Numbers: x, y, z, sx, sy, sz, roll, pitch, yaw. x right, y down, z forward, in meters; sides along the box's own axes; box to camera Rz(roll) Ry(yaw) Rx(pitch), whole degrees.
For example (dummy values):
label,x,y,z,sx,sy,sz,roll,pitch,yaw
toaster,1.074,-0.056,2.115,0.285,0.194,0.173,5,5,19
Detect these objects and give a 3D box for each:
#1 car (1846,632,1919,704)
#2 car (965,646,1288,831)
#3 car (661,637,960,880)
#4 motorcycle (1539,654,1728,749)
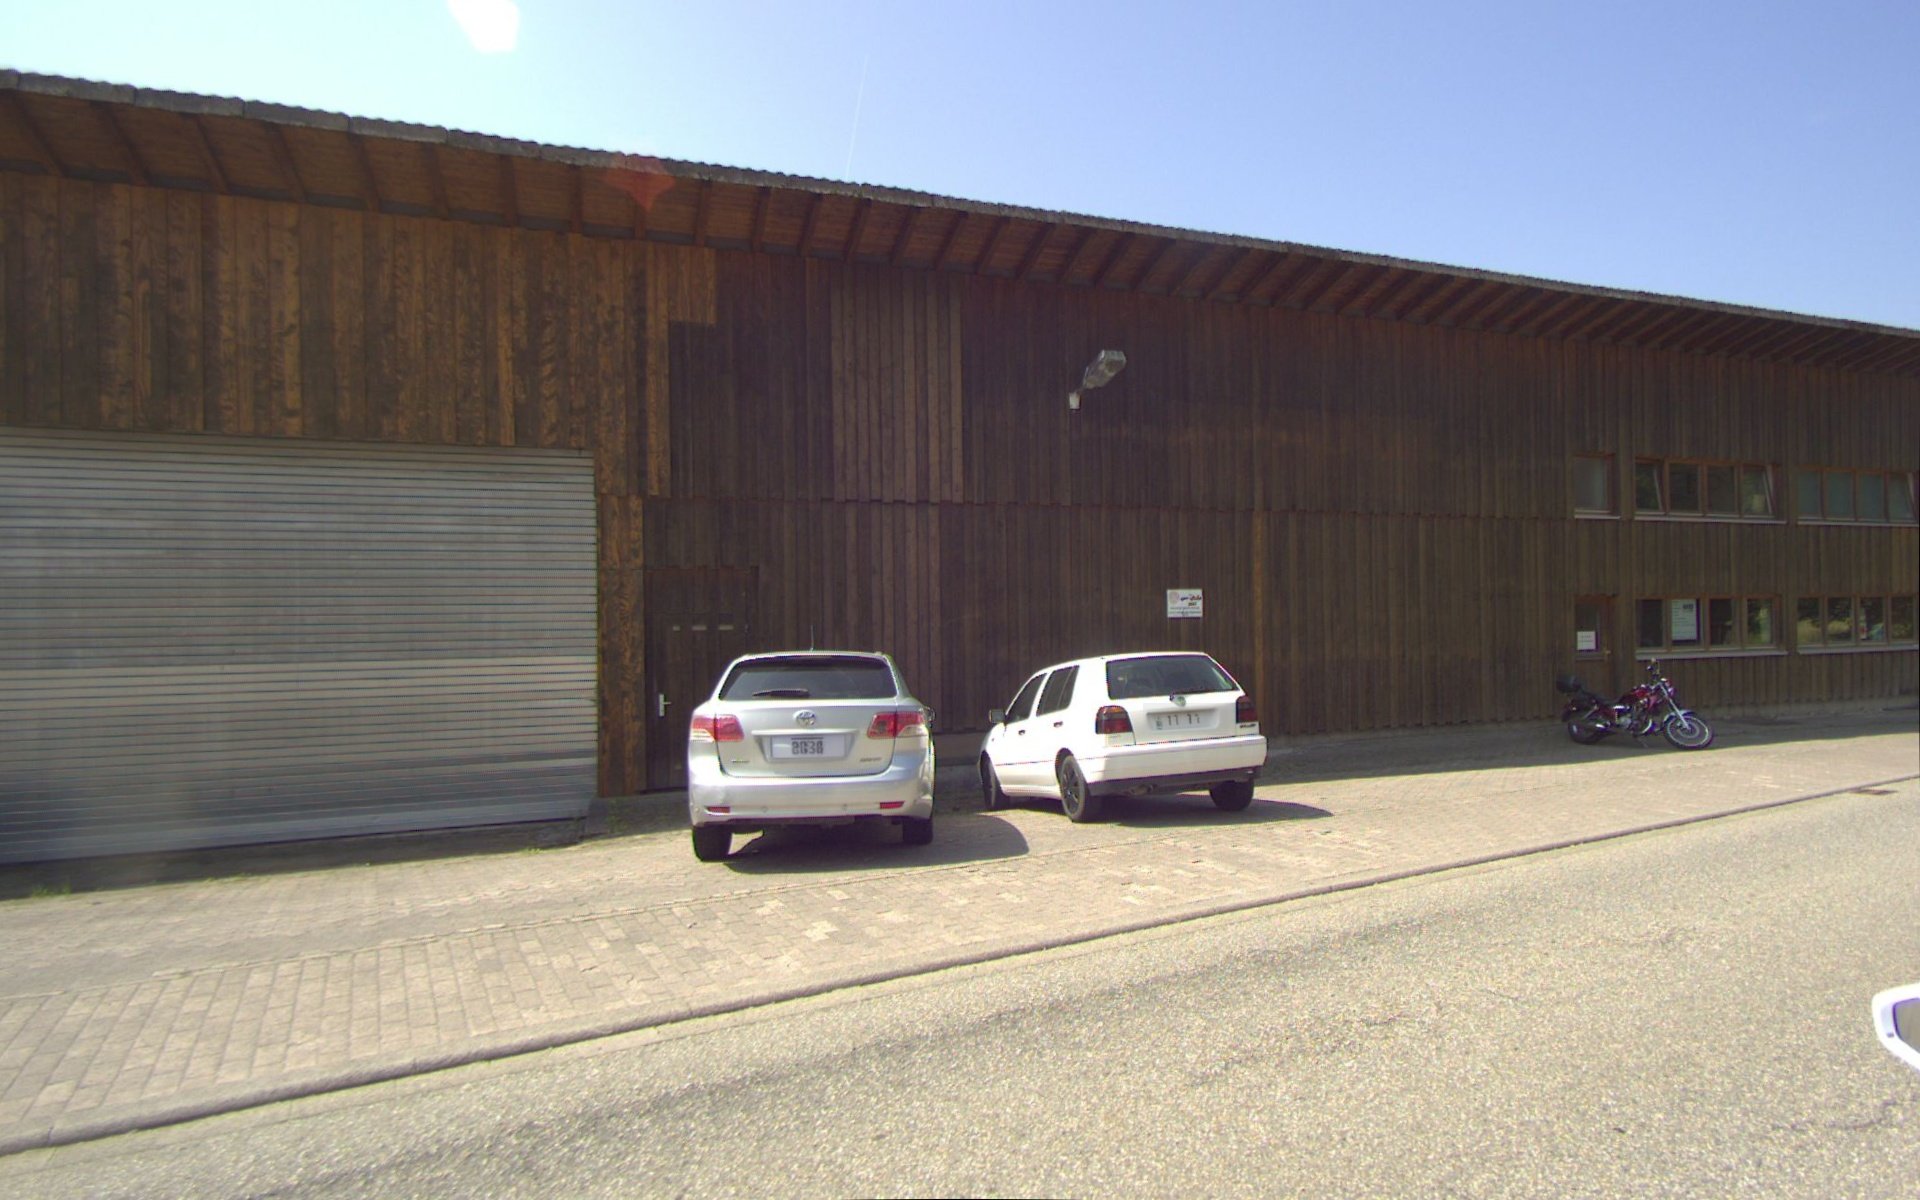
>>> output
label,x,y,z,sx,sy,sz,roll,pitch,yaw
car,22.249,1.458,22.247,4.727,1.473,1.728,0,-1,-17
car,1.355,1.248,9.702,1.682,1.403,3.662,0,-6,-15
car,-1.140,1.202,8.663,1.888,1.493,4.444,-1,-5,-5
motorcycle,10.150,1.482,15.276,0.732,1.281,2.406,1,-2,-20
